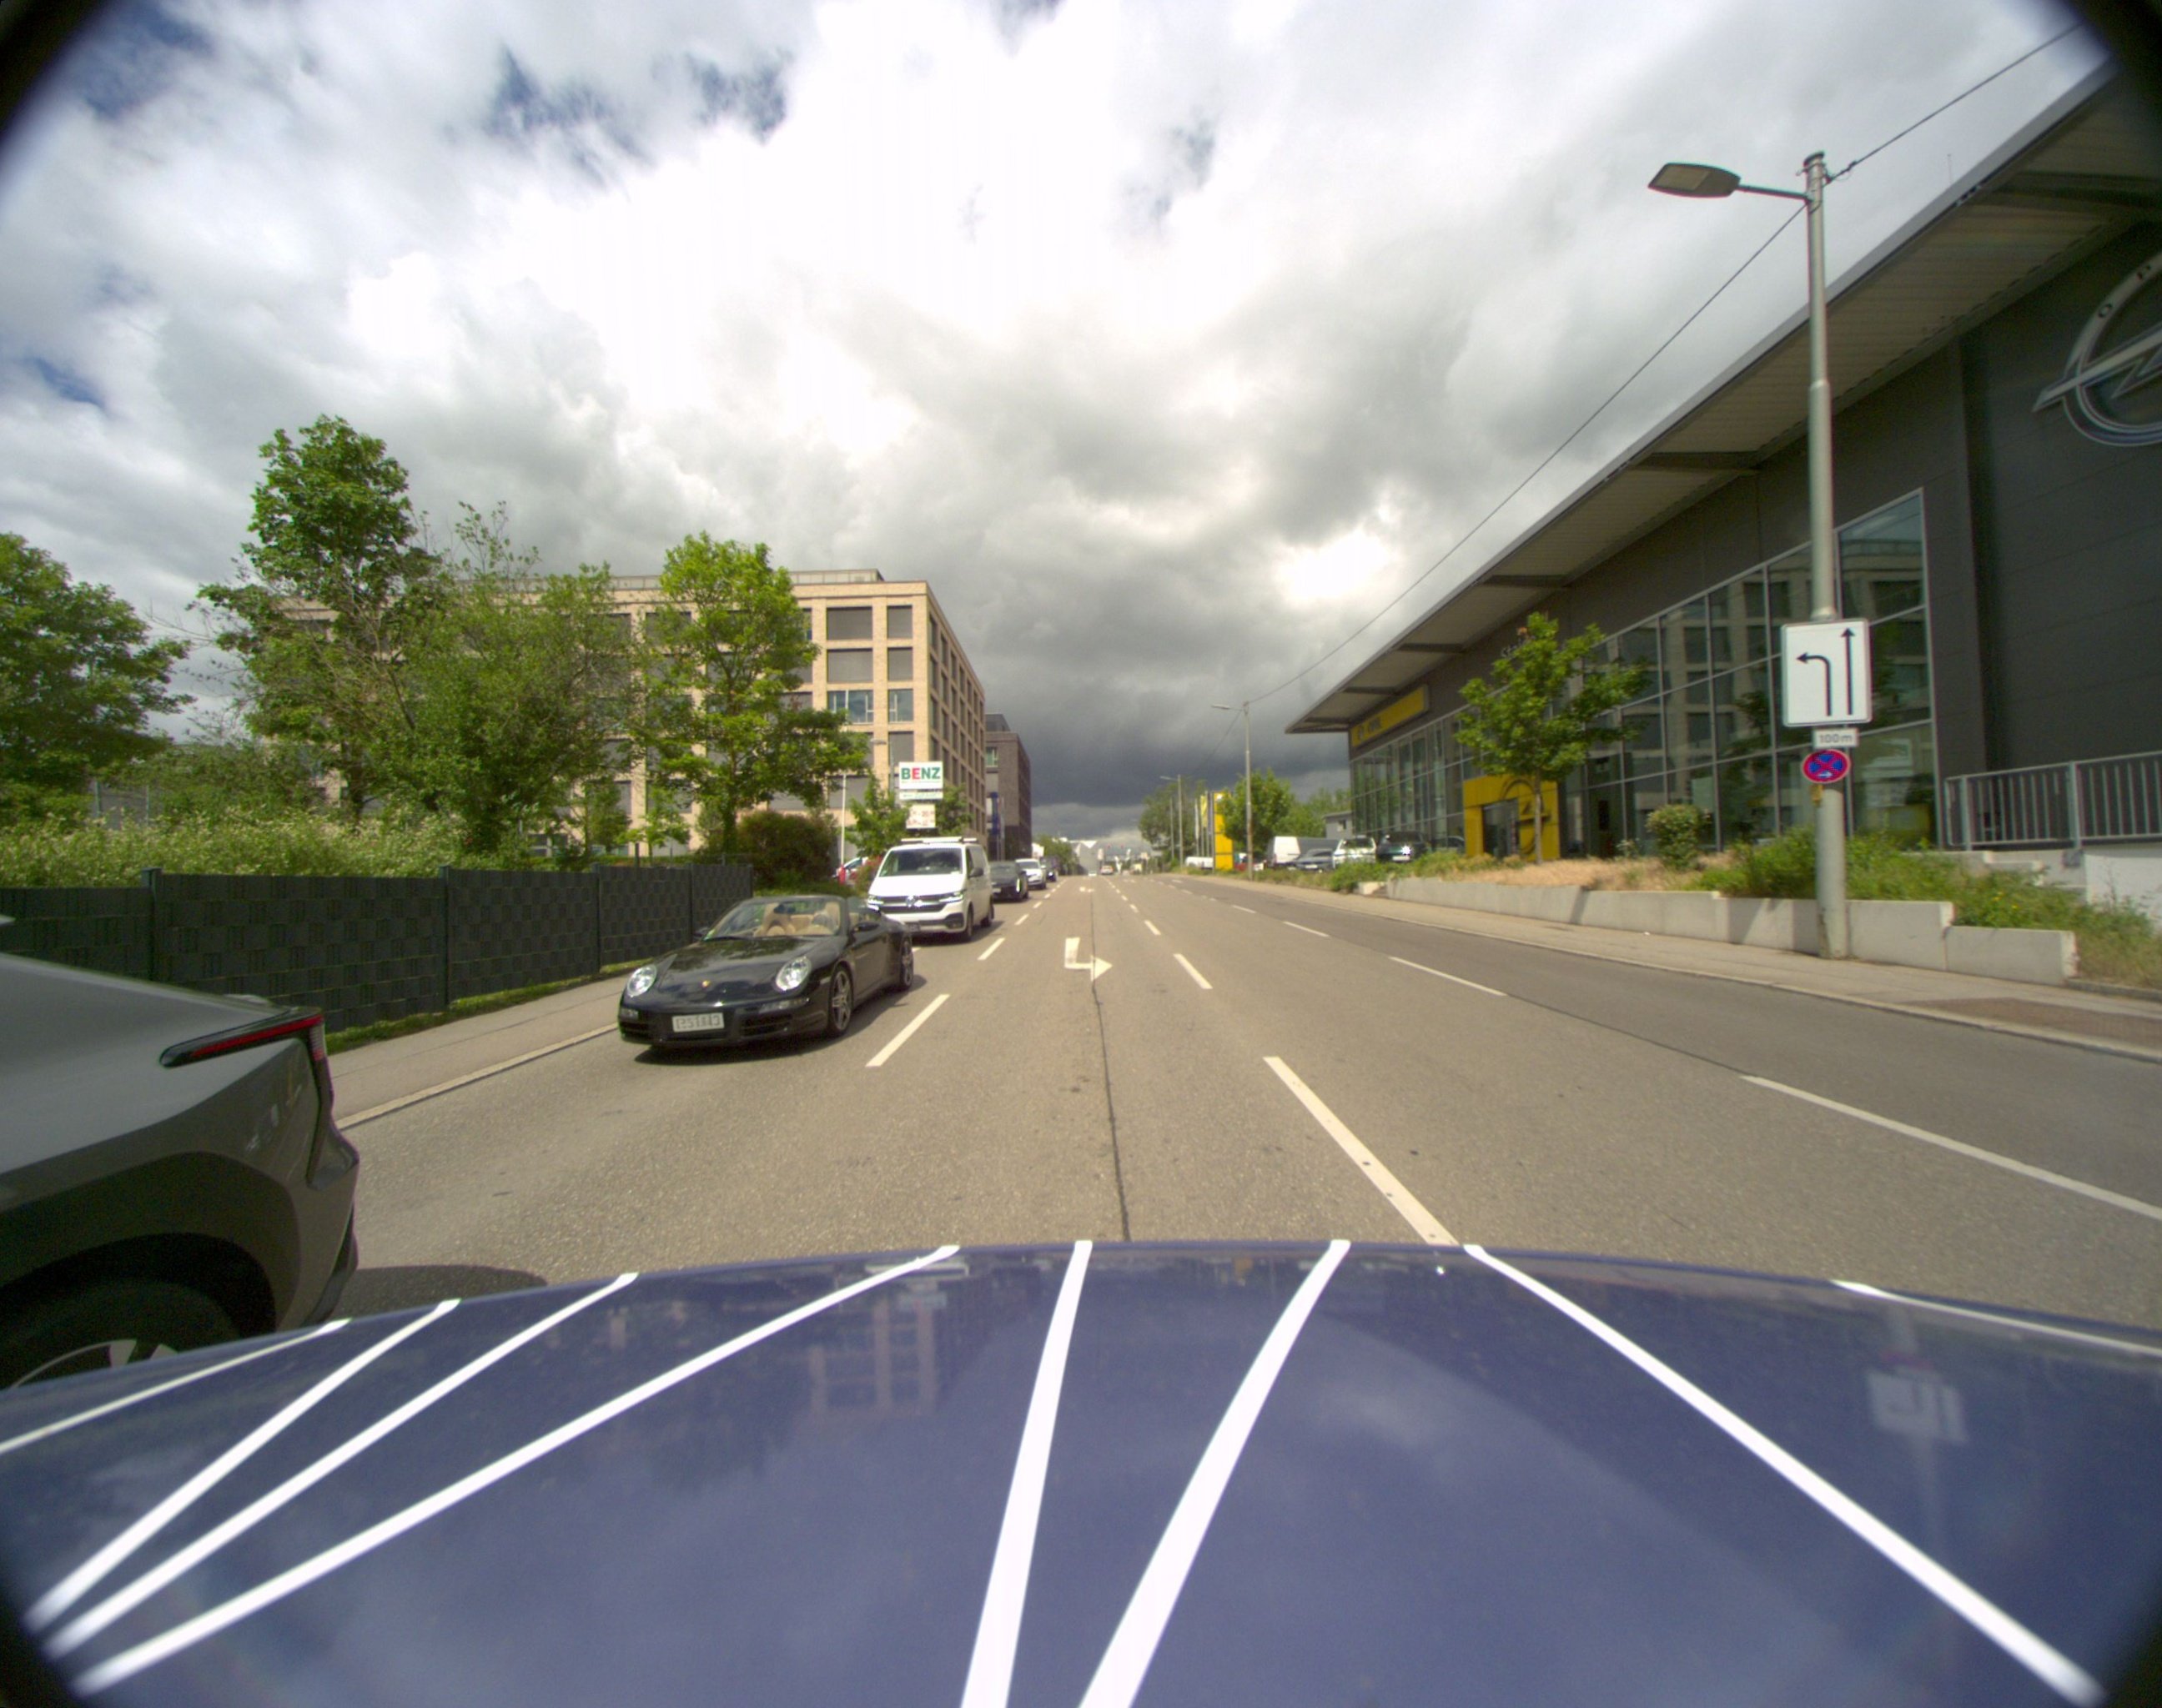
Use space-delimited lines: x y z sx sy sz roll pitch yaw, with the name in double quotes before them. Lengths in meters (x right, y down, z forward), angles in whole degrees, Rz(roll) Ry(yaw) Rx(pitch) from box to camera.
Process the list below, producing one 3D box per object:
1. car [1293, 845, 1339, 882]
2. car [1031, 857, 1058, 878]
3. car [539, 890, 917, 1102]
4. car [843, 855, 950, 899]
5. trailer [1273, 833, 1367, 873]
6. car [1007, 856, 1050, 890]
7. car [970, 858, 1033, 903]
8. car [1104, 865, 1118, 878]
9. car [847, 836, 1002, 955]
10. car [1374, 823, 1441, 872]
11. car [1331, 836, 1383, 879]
"car" 12.100 0.467 39.014 1.995 1.783 4.006 -1 0 21
"car" -2.506 0.898 52.855 1.662 1.351 4.000 -1 0 1
"car" -3.045 1.151 7.636 1.824 1.286 4.038 -2 0 1
"car" -7.636 0.940 31.742 3.998 1.723 1.822 -1 1 -3
"trailer" 14.443 -0.070 46.174 5.074 2.336 2.000 -1 1 -1
"car" -2.600 0.894 38.427 1.818 1.577 4.000 -1 0 1
"car" -2.835 0.911 27.887 1.818 1.454 4.000 -1 0 1
"car" 4.471 2.575 113.415 1.998 1.731 4.547 -2 0 1
"car" -3.023 0.731 15.854 2.089 2.037 4.760 -2 0 1
"car" 12.329 -0.254 28.930 1.996 1.718 4.005 -1 0 18
"car" 12.161 0.127 33.440 1.995 1.783 4.006 -1 0 21
